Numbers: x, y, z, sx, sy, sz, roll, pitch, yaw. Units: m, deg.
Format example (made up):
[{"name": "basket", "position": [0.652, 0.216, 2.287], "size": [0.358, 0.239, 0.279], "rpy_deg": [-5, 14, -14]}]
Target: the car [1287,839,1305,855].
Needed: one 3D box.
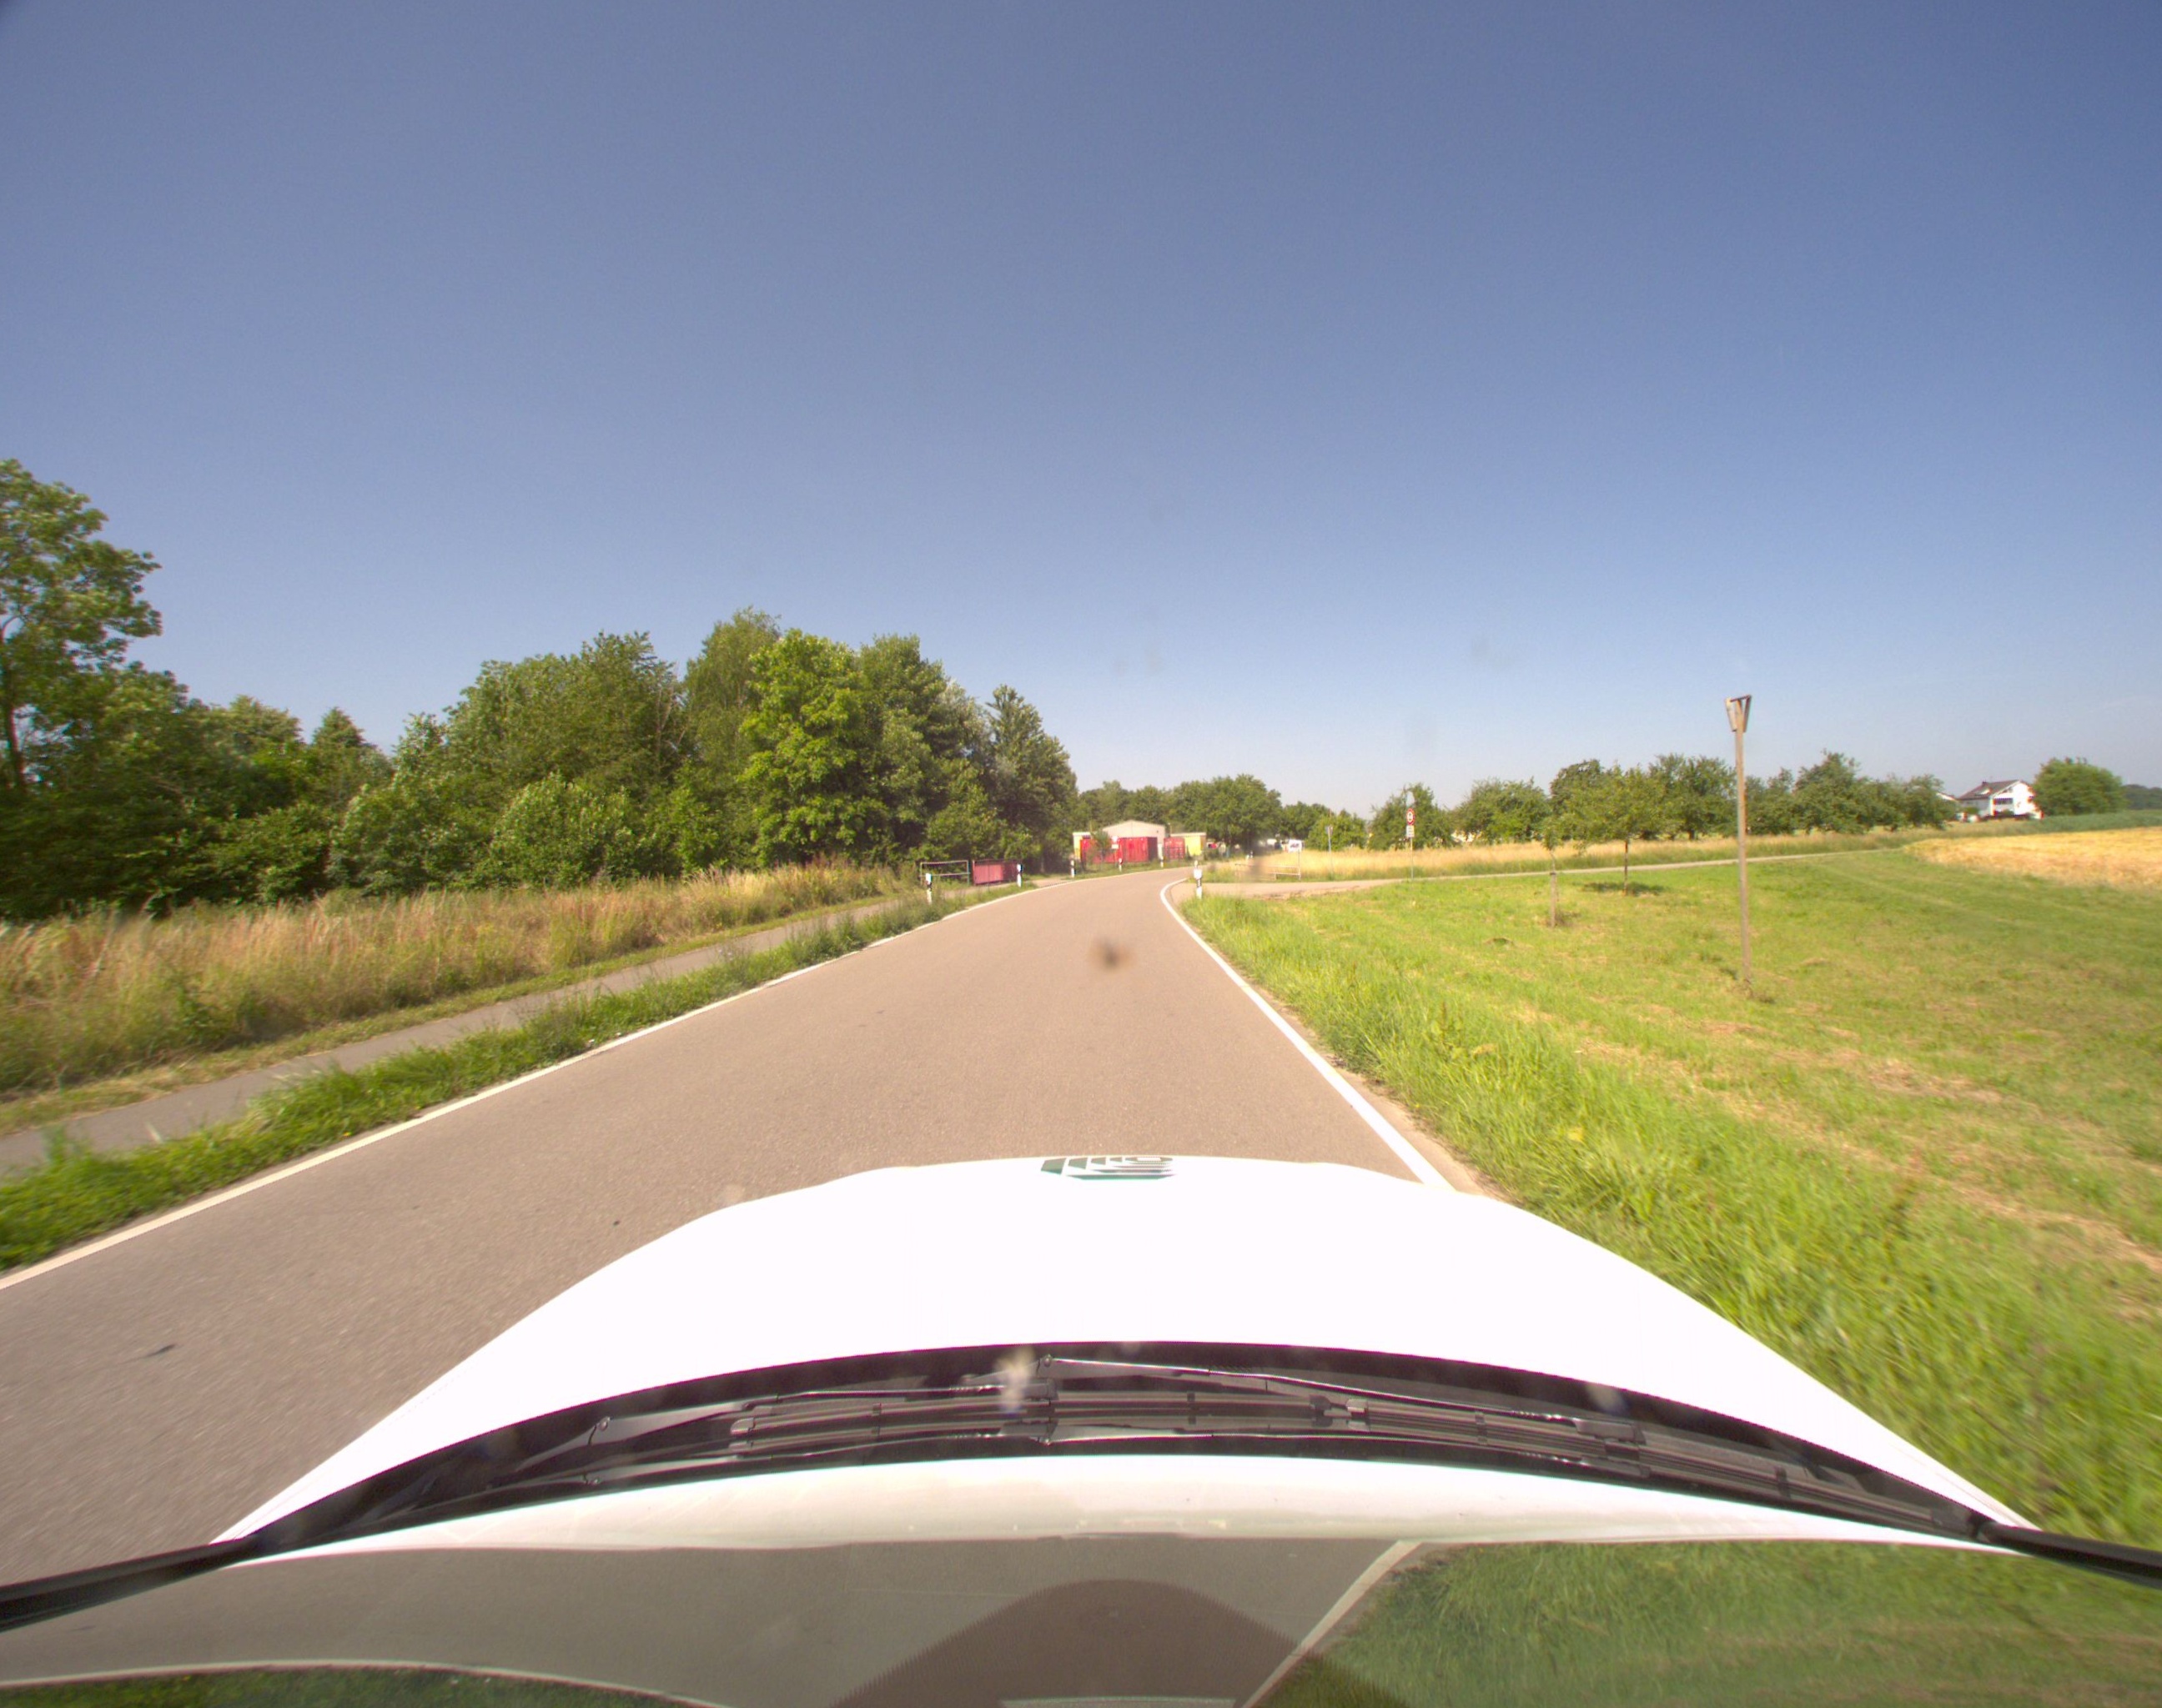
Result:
[{"name": "car", "position": [32.074, -1.022, 121.424], "size": [1.976, 2.266, 4.752], "rpy_deg": [-2, 0, 22]}]

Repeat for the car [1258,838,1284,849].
[{"name": "car", "position": [43.229, -2.452, 185.429], "size": [5.607, 2.266, 1.989], "rpy_deg": [-2, 0, -17]}]
